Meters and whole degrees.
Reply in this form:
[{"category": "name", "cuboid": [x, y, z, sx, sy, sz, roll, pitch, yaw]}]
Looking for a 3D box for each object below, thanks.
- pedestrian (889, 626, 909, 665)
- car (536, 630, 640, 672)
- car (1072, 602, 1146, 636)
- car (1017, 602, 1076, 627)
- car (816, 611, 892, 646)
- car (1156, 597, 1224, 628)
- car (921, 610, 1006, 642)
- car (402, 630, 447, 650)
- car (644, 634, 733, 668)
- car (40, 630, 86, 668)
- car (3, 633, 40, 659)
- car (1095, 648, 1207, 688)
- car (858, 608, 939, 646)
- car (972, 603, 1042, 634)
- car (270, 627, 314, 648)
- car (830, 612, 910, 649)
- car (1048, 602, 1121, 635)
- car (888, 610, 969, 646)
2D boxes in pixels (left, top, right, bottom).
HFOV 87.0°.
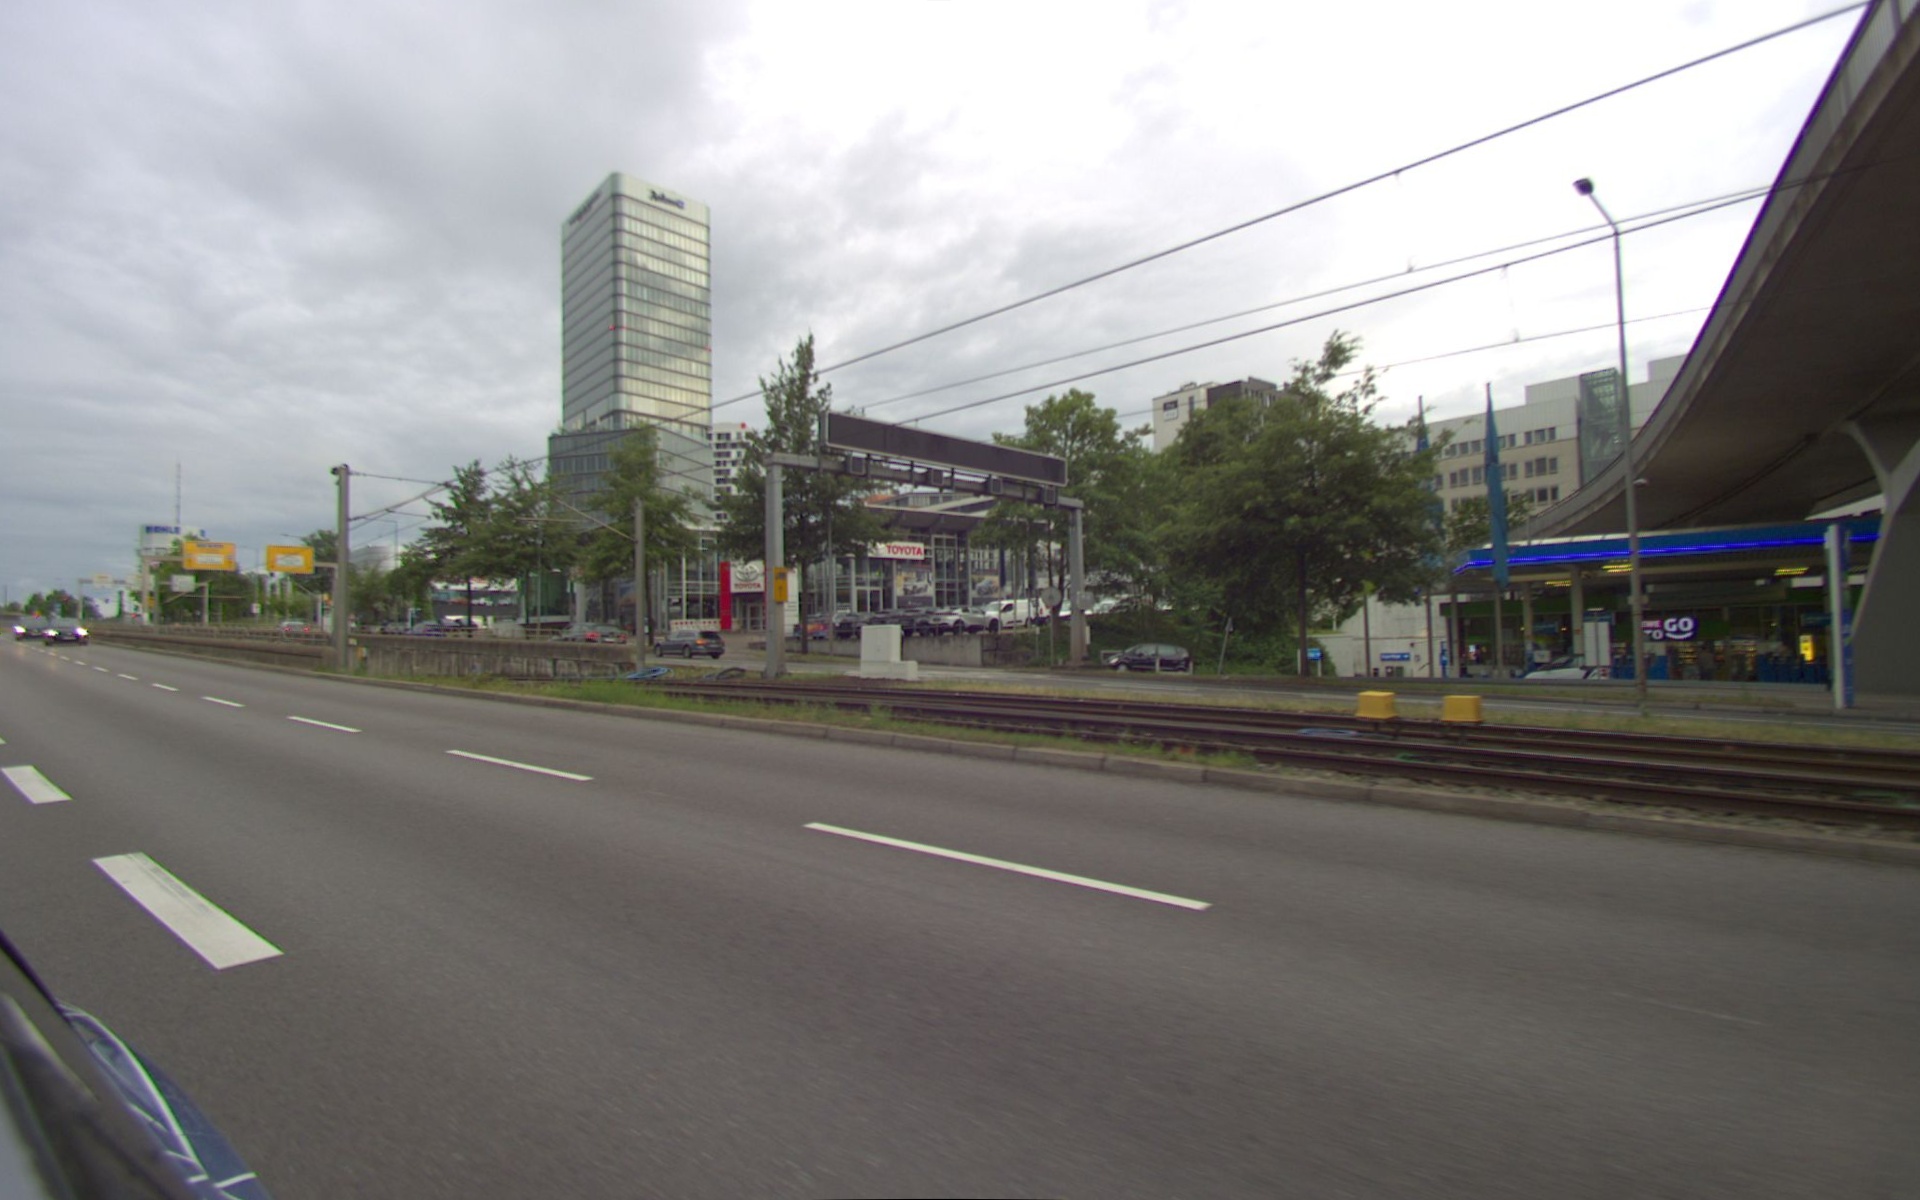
[{"category": "pedestrian", "cuboid": [-2.923, 2.185, 48.714, 0.678, 1.809, 0.637, 0, 0, -45]}, {"category": "car", "cuboid": [-15.127, 2.048, 41.019, 4.759, 1.550, 2.025, -3, -2, 43]}, {"category": "car", "cuboid": [8.524, 1.068, 57.800, 4.301, 1.828, 1.887, -1, 0, -43]}, {"category": "car", "cuboid": [5.782, 0.948, 67.692, 3.861, 1.605, 1.804, -1, 0, -43]}, {"category": "car", "cuboid": [-6.260, 1.661, 60.058, 4.302, 1.962, 1.886, -1, 0, -44]}, {"category": "car", "cuboid": [13.683, 0.719, 60.126, 4.301, 1.784, 1.846, -1, 0, -43]}, {"category": "car", "cuboid": [0.225, 1.323, 53.004, 4.301, 1.515, 1.887, -1, 0, -43]}, {"category": "car", "cuboid": [-38.237, 2.838, 72.214, 1.746, 1.319, 4.115, 0, 0, -44]}, {"category": "car", "cuboid": [-13.607, 2.552, 50.551, 4.563, 1.540, 2.027, -3, -2, 39]}, {"category": "car", "cuboid": [-49.786, 2.669, 56.135, 1.768, 1.882, 4.381, 0, 0, -43]}, {"category": "car", "cuboid": [-63.510, 3.096, 68.481, 1.768, 1.556, 4.381, 0, 0, -43]}, {"category": "car", "cuboid": [8.086, 2.876, 43.106, 4.302, 1.515, 1.887, -1, 0, -3]}, {"category": "car", "cuboid": [-3.374, 1.454, 56.103, 4.301, 1.962, 1.887, -1, 0, -43]}, {"category": "car", "cuboid": [2.953, 1.152, 63.126, 4.301, 1.828, 1.887, -1, 0, -43]}, {"category": "car", "cuboid": [-49.060, 2.701, 74.257, 1.769, 1.411, 4.878, 0, 0, -45]}, {"category": "car", "cuboid": [-5.098, 1.720, 57.734, 4.301, 1.962, 1.887, -1, 0, -43]}, {"category": "car", "cuboid": [7.295, 1.026, 59.170, 4.301, 1.828, 1.887, -1, 0, -43]}, {"category": "car", "cuboid": [-1.654, 1.455, 54.137, 4.136, 1.785, 1.887, -1, 0, -43]}]
